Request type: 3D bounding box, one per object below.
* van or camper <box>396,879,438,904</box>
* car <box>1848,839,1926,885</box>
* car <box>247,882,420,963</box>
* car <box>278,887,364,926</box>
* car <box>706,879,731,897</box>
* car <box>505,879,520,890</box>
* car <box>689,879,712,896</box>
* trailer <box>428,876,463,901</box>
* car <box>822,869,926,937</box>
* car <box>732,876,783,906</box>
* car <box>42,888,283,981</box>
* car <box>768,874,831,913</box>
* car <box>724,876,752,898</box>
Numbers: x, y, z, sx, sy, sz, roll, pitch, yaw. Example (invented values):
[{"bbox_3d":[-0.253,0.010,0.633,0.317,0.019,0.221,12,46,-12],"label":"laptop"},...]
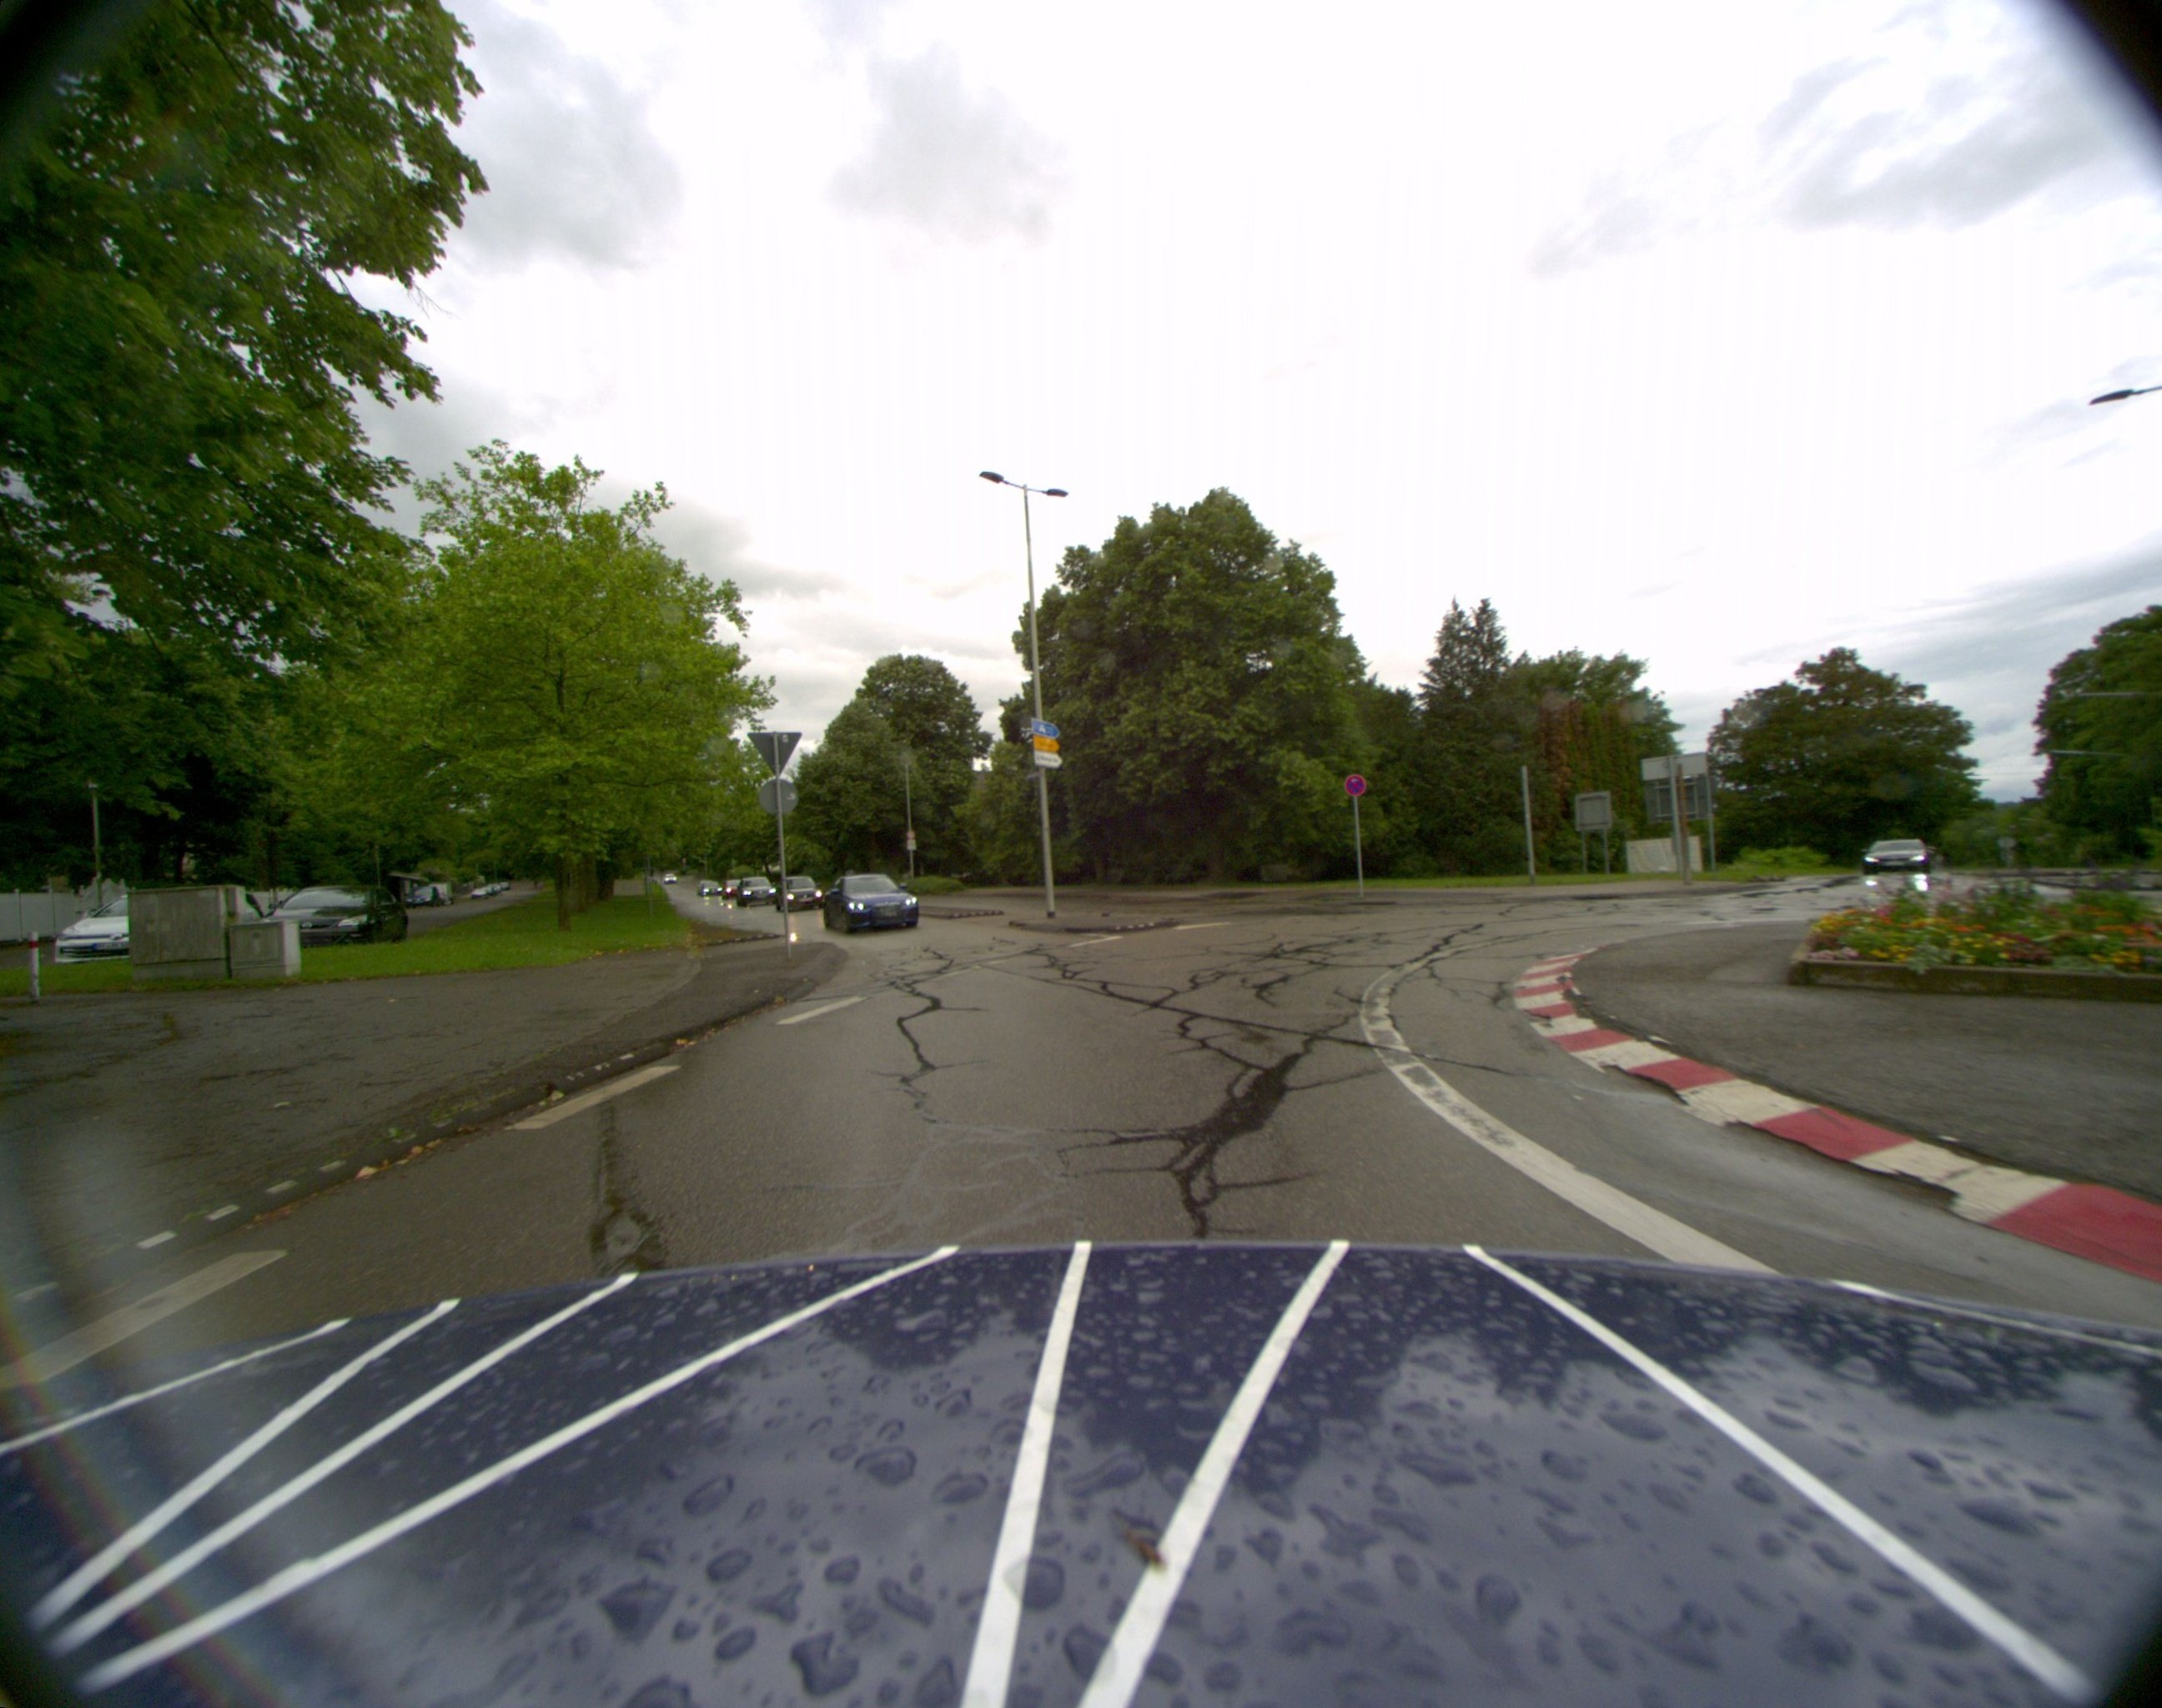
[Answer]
[{"bbox_3d":[-54.685,3.041,62.679,2.003,1.798,4.764,-5,2,-36],"label":"van or camper"},{"bbox_3d":[31.137,0.283,29.337,4.006,1.412,1.710,-6,2,-39],"label":"car"},{"bbox_3d":[-16.669,1.424,17.222,1.773,1.462,4.587,-1,0,-31],"label":"car"},{"bbox_3d":[-35.342,2.380,35.473,2.003,1.463,4.114,-5,2,-34],"label":"car"},{"bbox_3d":[-35.637,3.344,74.718,1.828,1.471,4.060,-4,1,-21],"label":"car"},{"bbox_3d":[-109.256,5.840,146.022,2.003,2.002,3.990,-2,0,-33],"label":"car"},{"bbox_3d":[-40.198,3.541,80.375,1.829,1.471,4.059,-5,1,-23],"label":"car"},{"bbox_3d":[-59.375,3.195,71.105,1.775,2.105,5.180,-5,2,-33],"label":"trailer"},{"bbox_3d":[-5.675,1.222,20.471,1.829,1.471,4.059,-5,2,-27],"label":"car"},{"bbox_3d":[-18.697,2.100,43.849,2.036,1.471,4.058,-5,2,-31],"label":"car"},{"bbox_3d":[-18.663,1.524,15.746,1.854,1.462,4.415,-2,0,-32],"label":"car"},{"bbox_3d":[-12.692,1.714,34.132,1.829,1.471,4.058,-5,2,-31],"label":"car"},{"bbox_3d":[-27.272,2.573,60.339,1.829,1.471,4.059,-5,1,-26],"label":"car"}]
